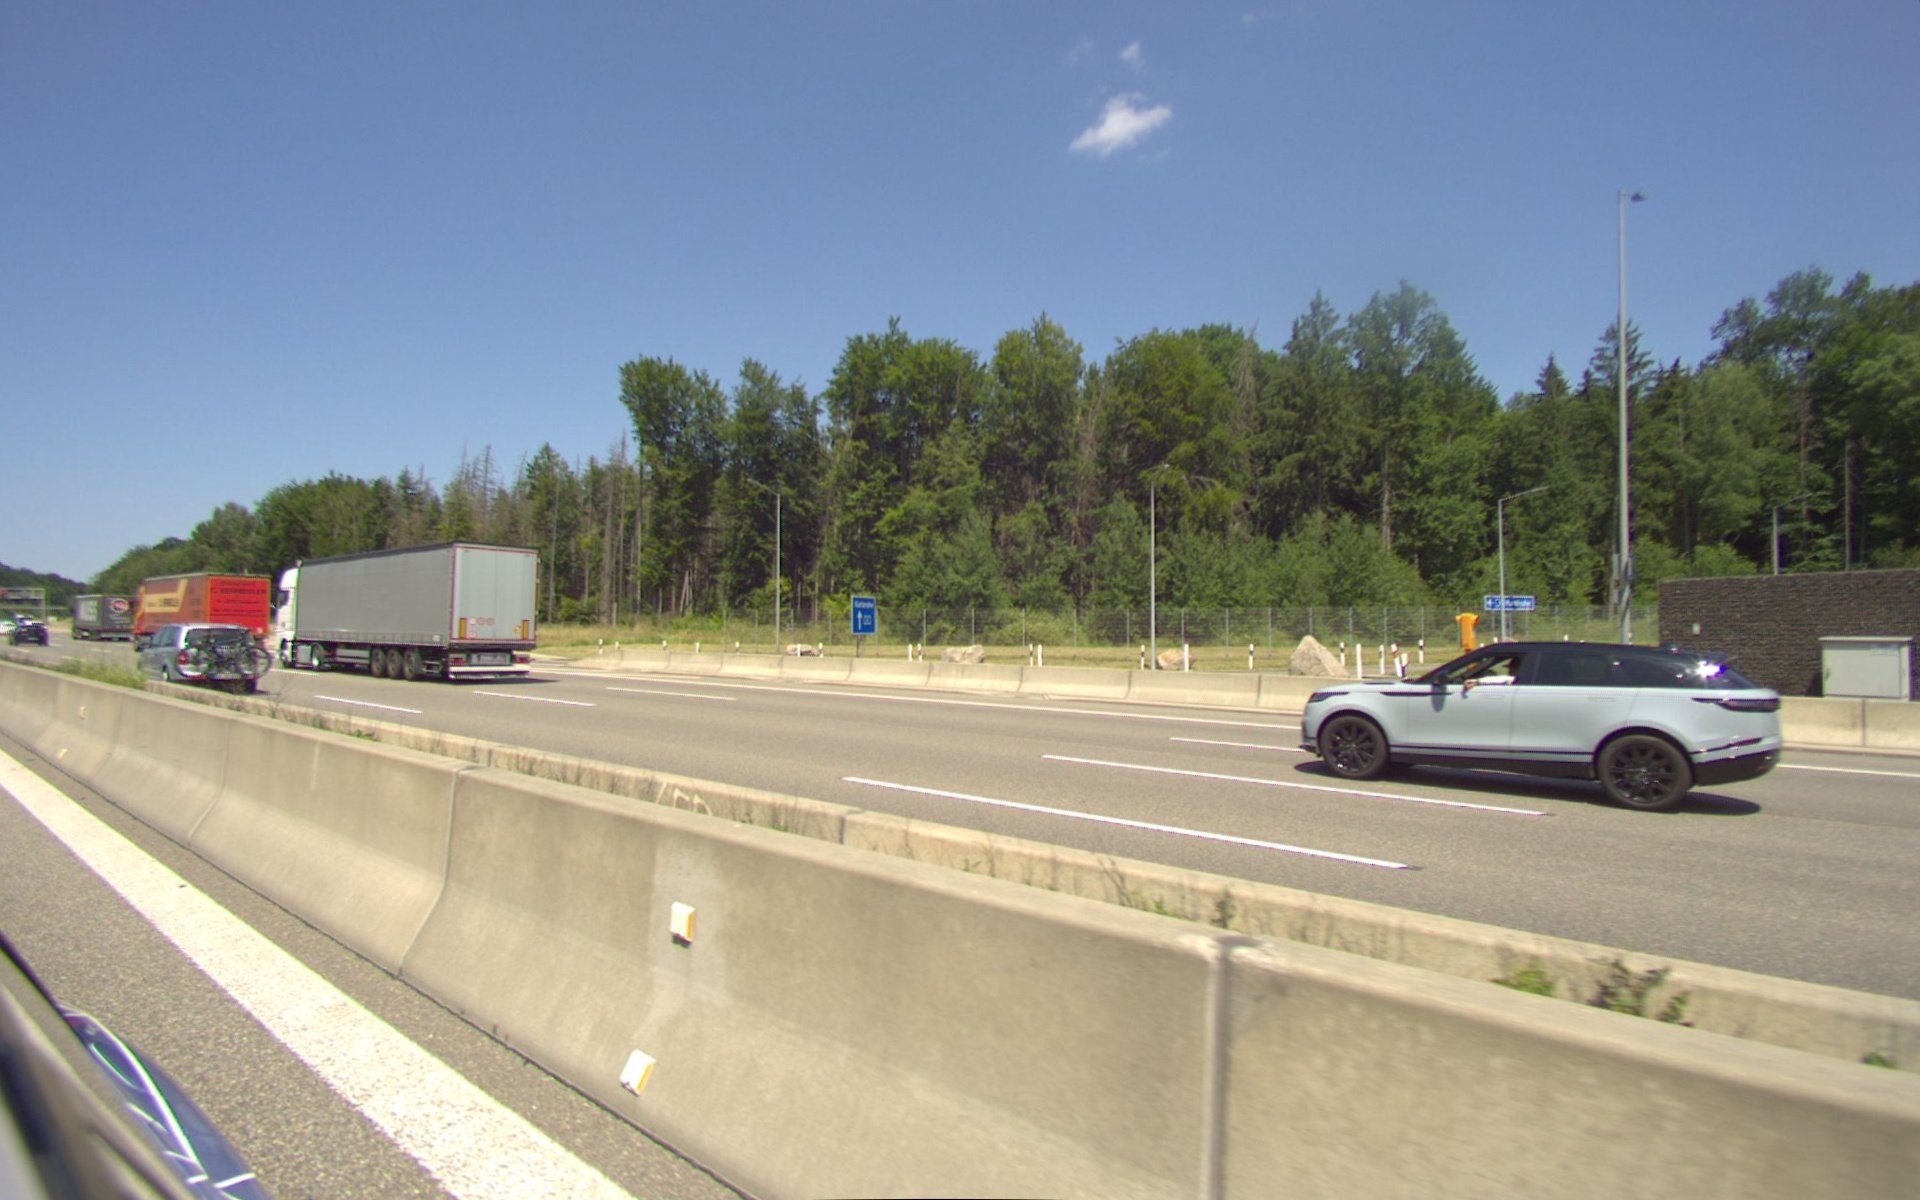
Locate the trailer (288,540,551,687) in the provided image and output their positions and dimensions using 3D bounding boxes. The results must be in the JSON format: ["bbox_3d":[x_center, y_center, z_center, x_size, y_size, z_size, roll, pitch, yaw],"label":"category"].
[{"bbox_3d":[-18.401,0.510,33.550,14.460,4.032,2.725,-1,-2,41],"label":"trailer"}]

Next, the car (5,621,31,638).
[{"bbox_3d":[-136.675,4.303,146.781,6.341,2.431,1.928,-1,-3,41],"label":"car"}]

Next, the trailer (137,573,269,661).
[{"bbox_3d":[-39.370,0.930,52.326,14.175,4.081,2.544,-1,-2,41],"label":"trailer"}]

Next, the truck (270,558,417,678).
[{"bbox_3d":[-22.992,0.685,37.599,6.778,4.062,2.706,-1,-2,41],"label":"truck"}]

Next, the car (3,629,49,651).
[{"bbox_3d":[-62.689,2.654,67.871,4.314,1.398,1.802,-1,-2,41],"label":"car"}]

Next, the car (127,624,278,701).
[{"bbox_3d":[-18.148,1.402,24.130,5.460,1.655,1.765,-1,-2,41],"label":"car"}]

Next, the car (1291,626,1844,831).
[{"bbox_3d":[6.551,1.202,11.368,5.036,1.787,1.973,-1,-2,41],"label":"car"}]

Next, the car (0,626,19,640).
[{"bbox_3d":[-108.787,3.776,115.360,3.809,1.497,1.785,-1,-3,42],"label":"car"}]

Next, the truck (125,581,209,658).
[{"bbox_3d":[-44.550,1.113,56.786,6.469,4.080,2.501,-1,-2,41],"label":"truck"}]

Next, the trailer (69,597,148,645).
[{"bbox_3d":[-77.052,1.911,91.426,14.272,4.032,3.307,-1,-3,41],"label":"trailer"}]

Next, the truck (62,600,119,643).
[{"bbox_3d":[-83.163,2.046,96.754,5.537,3.961,3.253,-1,-3,41],"label":"truck"}]
